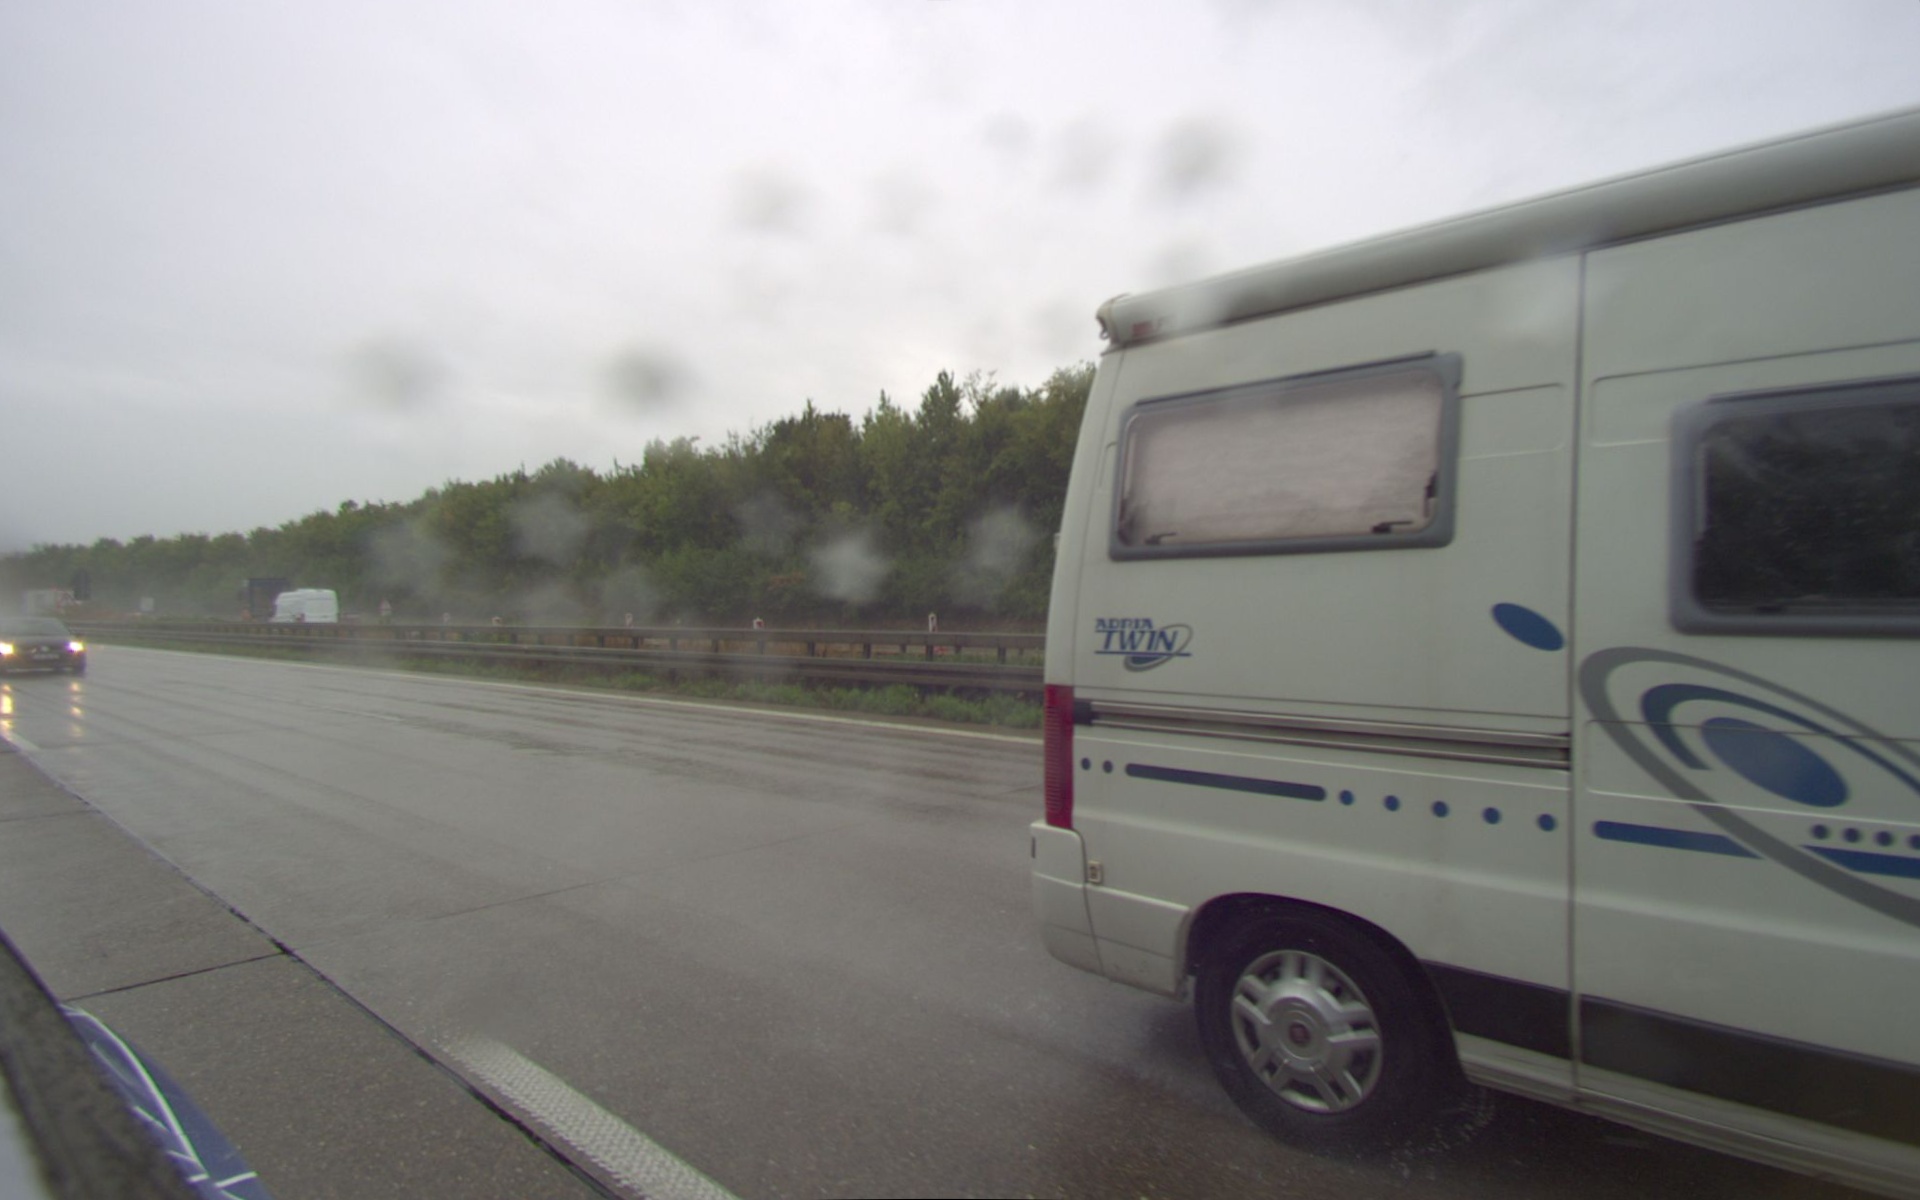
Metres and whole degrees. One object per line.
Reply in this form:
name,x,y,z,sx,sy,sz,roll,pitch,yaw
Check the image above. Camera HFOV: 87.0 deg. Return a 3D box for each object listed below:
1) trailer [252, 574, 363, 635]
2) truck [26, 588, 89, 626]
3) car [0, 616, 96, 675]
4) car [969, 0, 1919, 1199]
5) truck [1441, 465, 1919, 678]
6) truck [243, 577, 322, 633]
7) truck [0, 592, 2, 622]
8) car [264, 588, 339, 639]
trailer,-45.375,0.347,70.137,12.864,3.886,3.104,-1,-1,41
truck,-106.446,0.855,119.261,16.354,4.277,3.093,-1,0,39
car,-24.072,1.142,26.331,4.318,1.398,1.723,0,-2,40
car,2.864,0.082,2.111,5.787,2.450,1.977,-1,0,41
truck,14.963,-0.437,17.722,11.512,3.340,2.744,-1,0,42
truck,-49.330,0.377,73.605,6.883,3.886,3.104,-1,-1,41
truck,-139.362,1.070,143.658,13.524,4.277,3.094,-1,0,39
car,-39.609,0.796,60.786,6.530,2.922,2.067,-1,0,41
